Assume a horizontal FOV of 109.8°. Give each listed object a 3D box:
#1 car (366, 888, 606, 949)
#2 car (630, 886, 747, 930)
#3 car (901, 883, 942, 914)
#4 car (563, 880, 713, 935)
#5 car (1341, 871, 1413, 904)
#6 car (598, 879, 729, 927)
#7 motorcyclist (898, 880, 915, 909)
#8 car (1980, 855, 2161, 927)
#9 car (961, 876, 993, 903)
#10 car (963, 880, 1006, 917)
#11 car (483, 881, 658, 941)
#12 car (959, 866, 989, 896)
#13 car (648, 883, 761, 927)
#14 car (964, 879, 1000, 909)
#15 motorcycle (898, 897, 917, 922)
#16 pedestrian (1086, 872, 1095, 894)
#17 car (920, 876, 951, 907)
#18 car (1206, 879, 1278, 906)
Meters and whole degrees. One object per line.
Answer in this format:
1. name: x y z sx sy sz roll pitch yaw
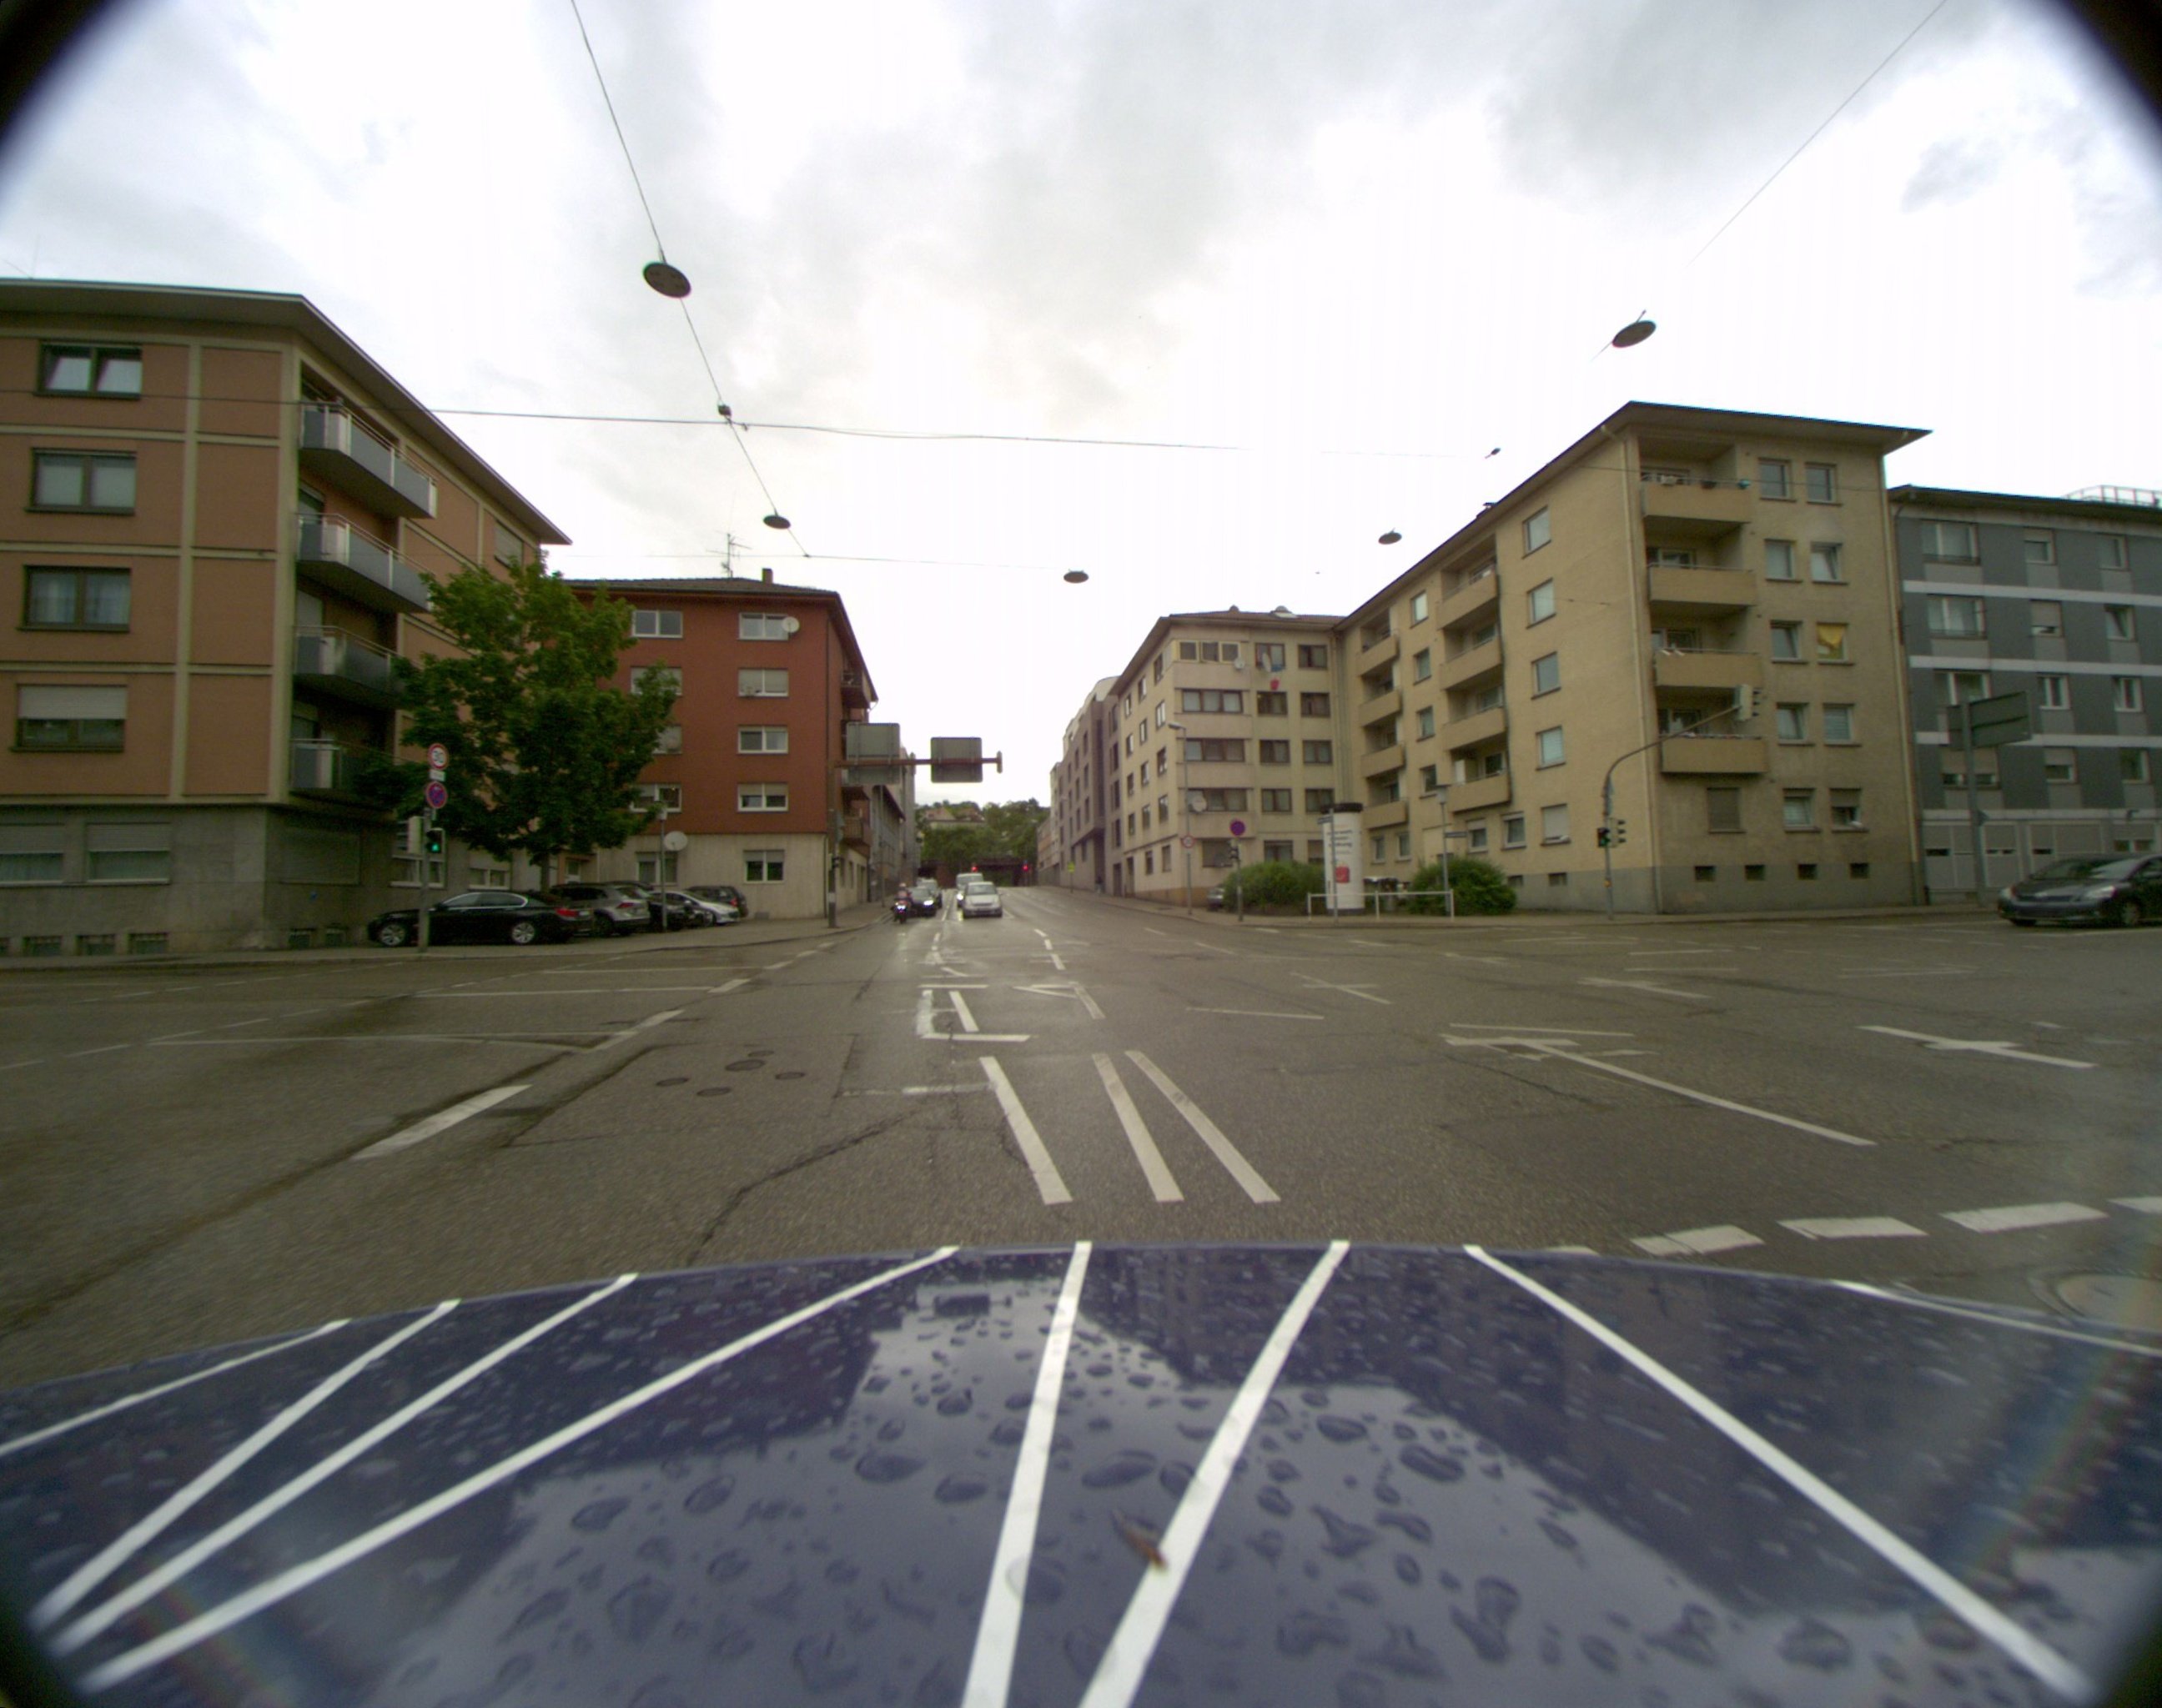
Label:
1. car: -15.819 1.687 20.448 4.795 1.545 1.850 0 -2 -7
2. car: -16.074 2.219 31.184 3.994 1.571 1.677 -4 -4 9
3. car: -8.151 2.234 38.760 1.876 1.433 3.997 -2 -1 -13
4. car: -15.264 1.811 26.330 3.996 1.709 1.994 -2 -1 3
5. car: 14.534 1.623 37.495 1.766 1.465 3.323 -2 -1 -11
6. car: -15.906 1.873 29.076 3.997 1.687 1.801 -2 -4 1
7. motorcyclist: -7.502 1.729 32.636 0.655 1.216 0.657 -1 0 -15
8. car: 22.965 0.818 17.067 4.073 1.471 1.732 -1 -3 -11
9. car: -6.479 2.203 47.472 1.850 1.545 3.999 -2 -2 -7
10. car: -4.525 2.025 35.406 1.841 1.545 3.998 -2 -2 -8
11. car: -15.639 1.720 23.482 3.999 1.650 1.992 -1 -2 -8
12. car: -7.611 1.998 54.557 1.943 1.903 4.855 -3 -3 -7
13. car: -16.734 2.265 33.868 3.996 1.694 2.002 -3 -4 3
14. car: -5.558 2.181 42.393 1.850 1.545 3.998 -2 -2 -9
15. motorcycle: -7.495 2.355 32.753 0.638 0.921 2.362 -3 0 -15
16. pedestrian: 0.774 2.333 61.151 0.536 1.689 0.503 -2 -4 -14
17. car: -9.155 2.418 47.969 1.795 1.716 4.000 -2 -4 -10
18. car: 8.248 1.961 38.943 3.263 1.185 1.382 -2 -3 -9
